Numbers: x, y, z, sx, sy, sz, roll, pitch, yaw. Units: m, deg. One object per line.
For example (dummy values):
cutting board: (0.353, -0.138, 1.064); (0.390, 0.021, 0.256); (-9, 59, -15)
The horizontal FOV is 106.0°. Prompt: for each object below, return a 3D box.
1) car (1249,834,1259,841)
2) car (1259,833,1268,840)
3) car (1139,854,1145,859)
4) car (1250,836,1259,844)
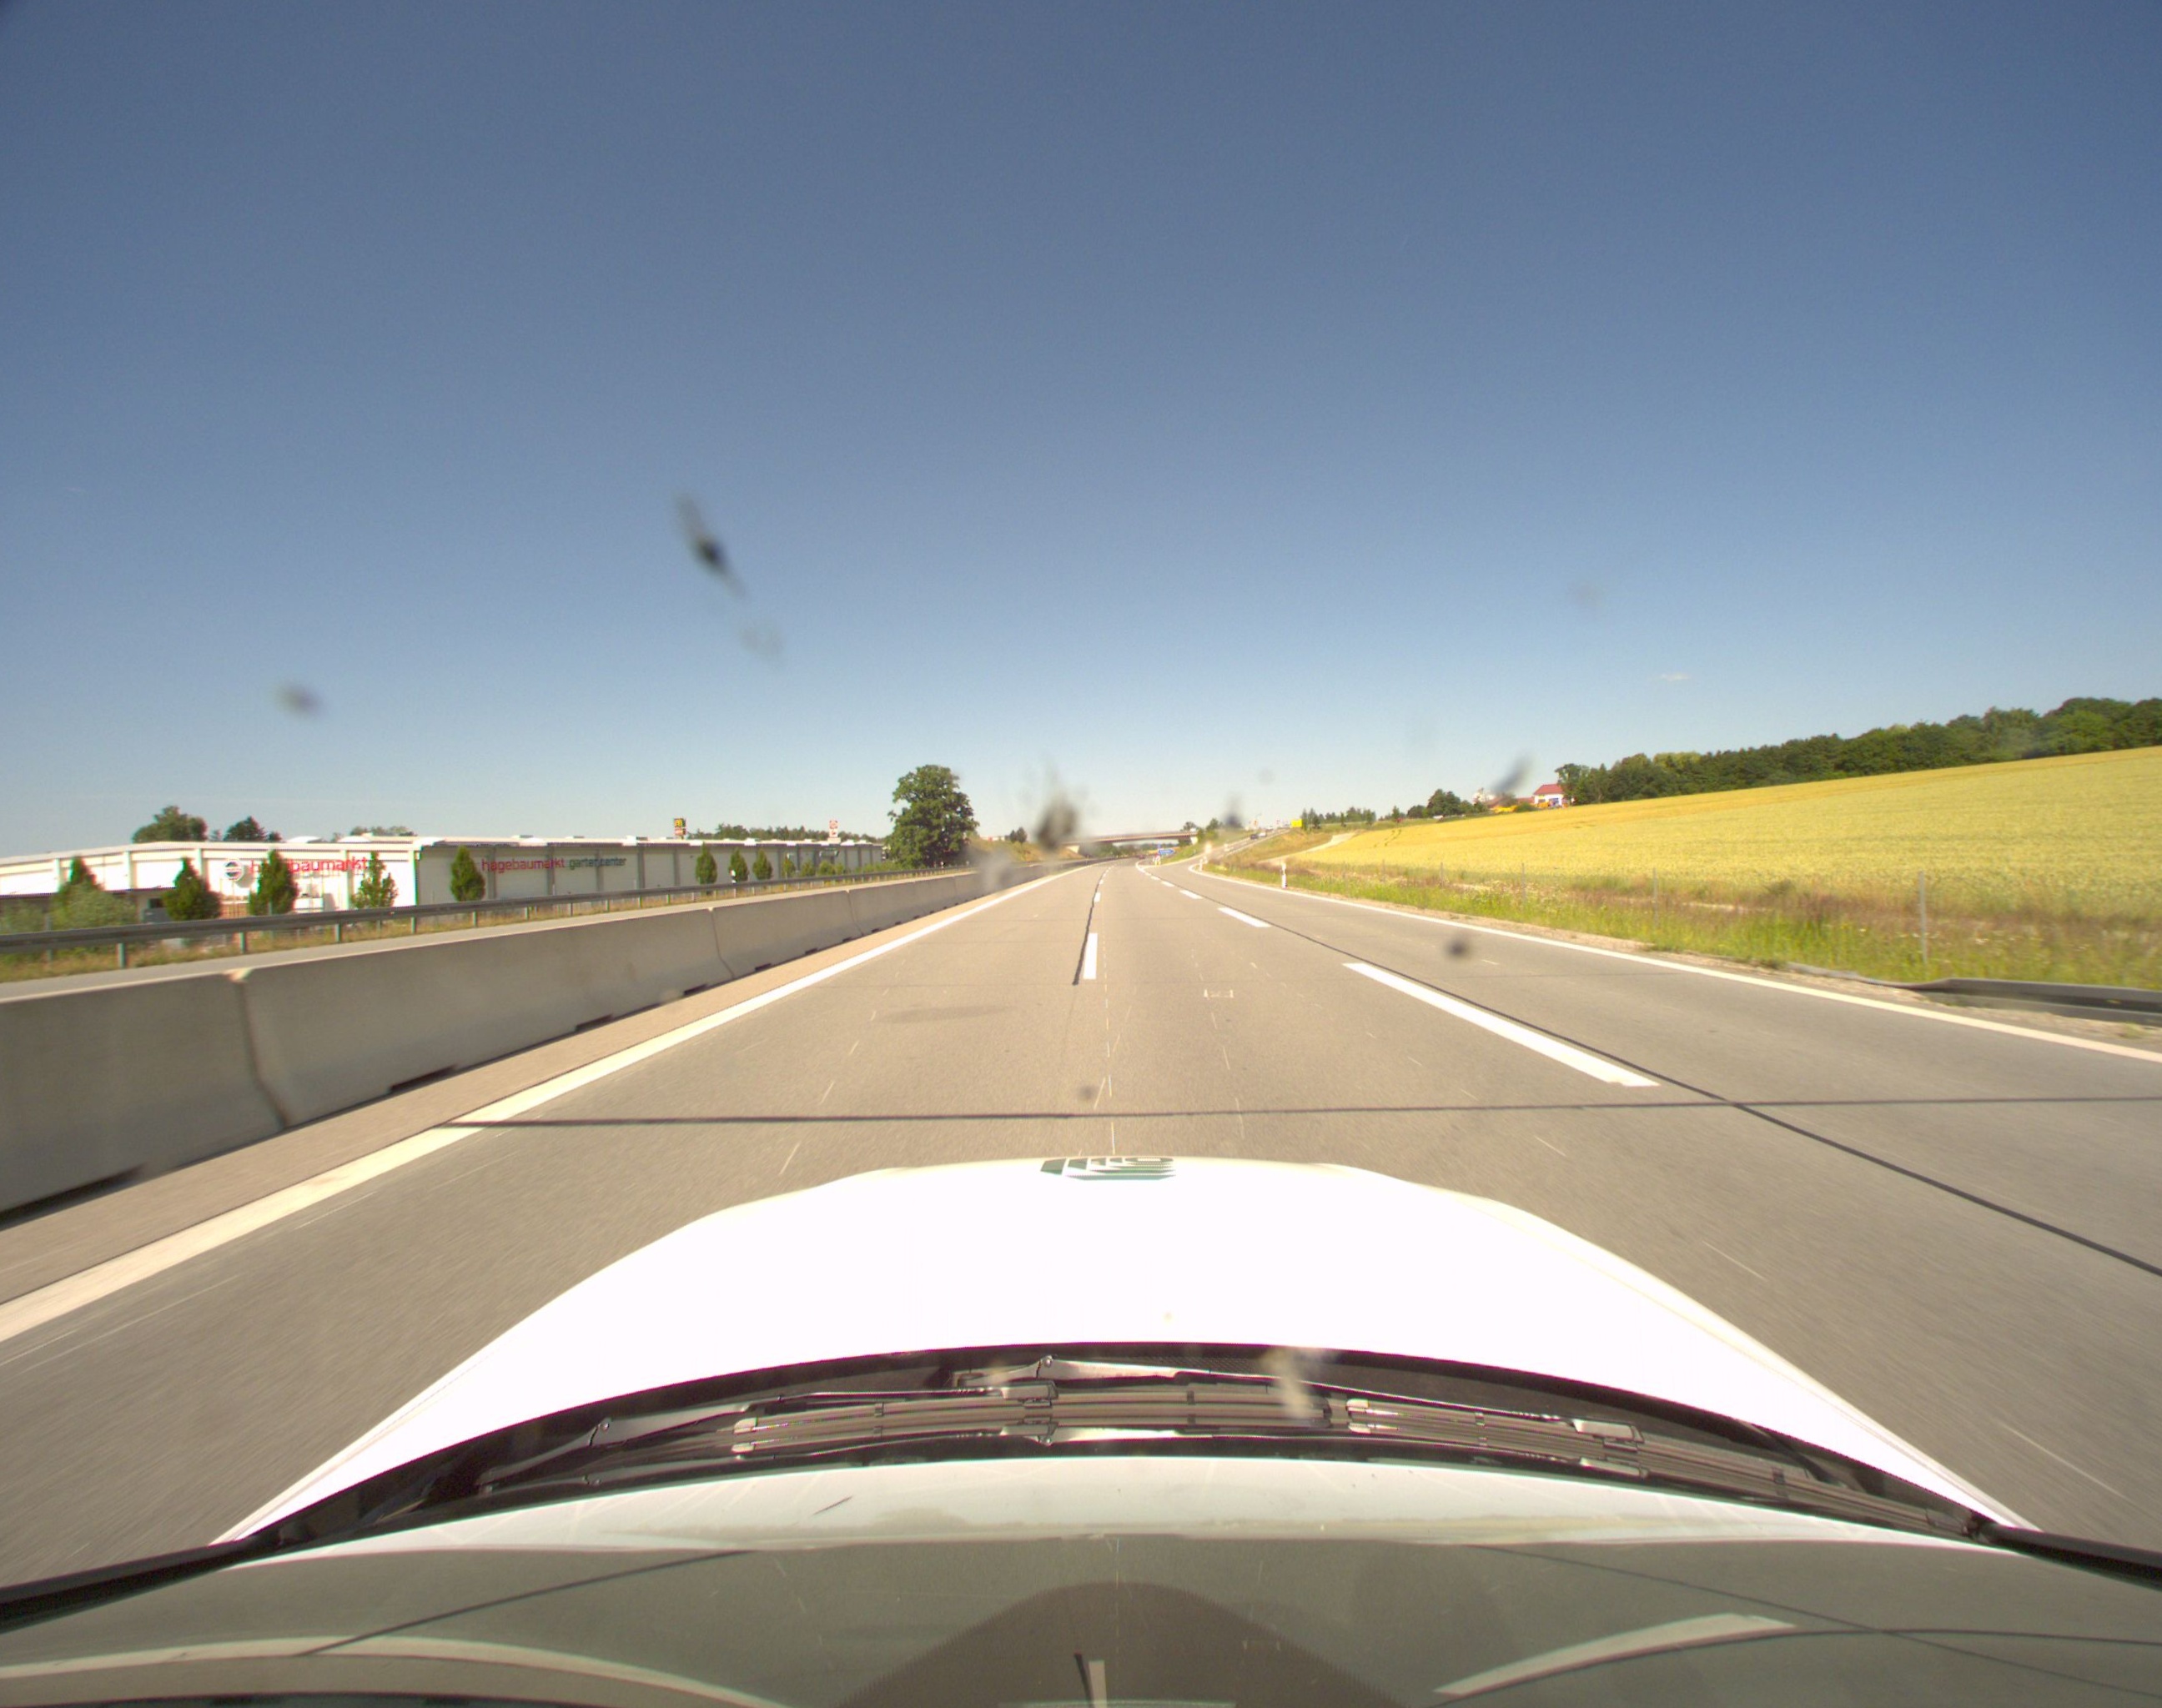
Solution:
car: (45.728, -4.344, 214.893); (1.977, 1.618, 4.020); (-3, 0, 20)
car: (54.811, -5.175, 244.972); (1.977, 2.013, 4.020); (-3, 0, 20)
car: (18.949, 0.810, 252.786); (1.984, 1.420, 4.005); (-3, 0, 4)
car: (49.565, -3.988, 232.910); (1.977, 2.013, 4.020); (-3, 0, 20)
